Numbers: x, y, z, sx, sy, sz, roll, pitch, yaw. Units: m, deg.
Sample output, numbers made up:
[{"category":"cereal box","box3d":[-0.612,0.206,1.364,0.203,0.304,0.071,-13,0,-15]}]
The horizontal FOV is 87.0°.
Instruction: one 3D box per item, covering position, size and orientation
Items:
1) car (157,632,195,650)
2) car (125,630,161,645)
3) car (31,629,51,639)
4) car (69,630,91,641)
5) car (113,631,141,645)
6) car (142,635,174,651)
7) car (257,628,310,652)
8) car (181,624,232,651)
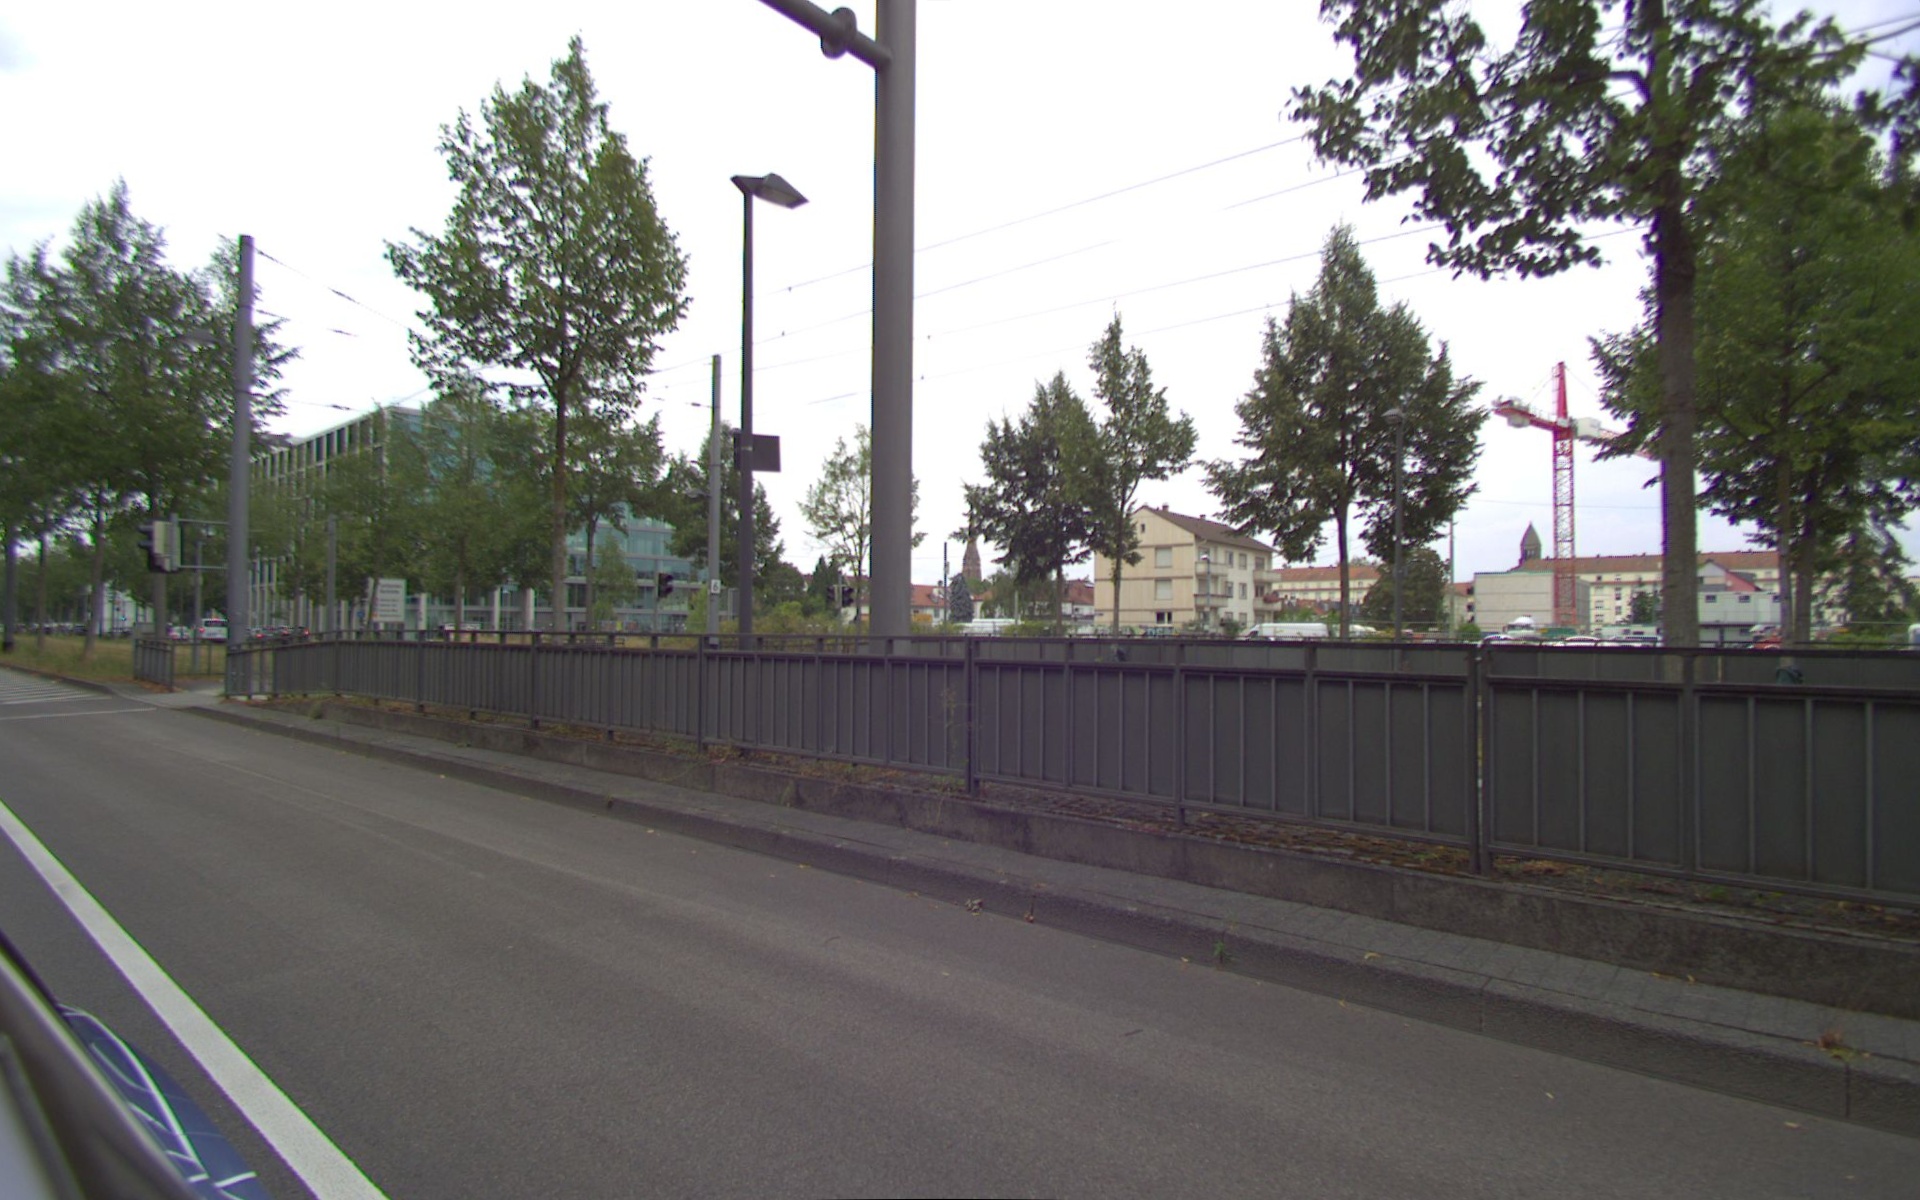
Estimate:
[{"category":"car","box3d":[-65.338,3.400,84.317,3.863,1.508,1.730,-2,-3,41]},{"category":"car","box3d":[-78.493,3.600,97.223,3.997,1.429,1.973,-1,-3,40]},{"category":"car","box3d":[-130.034,4.823,143.191,3.864,1.468,1.729,-2,-3,43]},{"category":"car","box3d":[-112.966,4.537,129.908,3.864,1.468,1.729,-2,-3,43]},{"category":"car","box3d":[-86.947,3.923,105.611,3.864,1.468,1.729,-2,-3,43]},{"category":"car","box3d":[-73.048,3.901,92.193,3.865,1.468,1.729,-2,-3,44]},{"category":"car","box3d":[-47.954,2.793,71.679,4.687,1.669,1.809,-1,-2,39]},{"category":"car","box3d":[-56.316,2.767,75.625,5.093,1.959,1.973,-1,-3,41]}]
